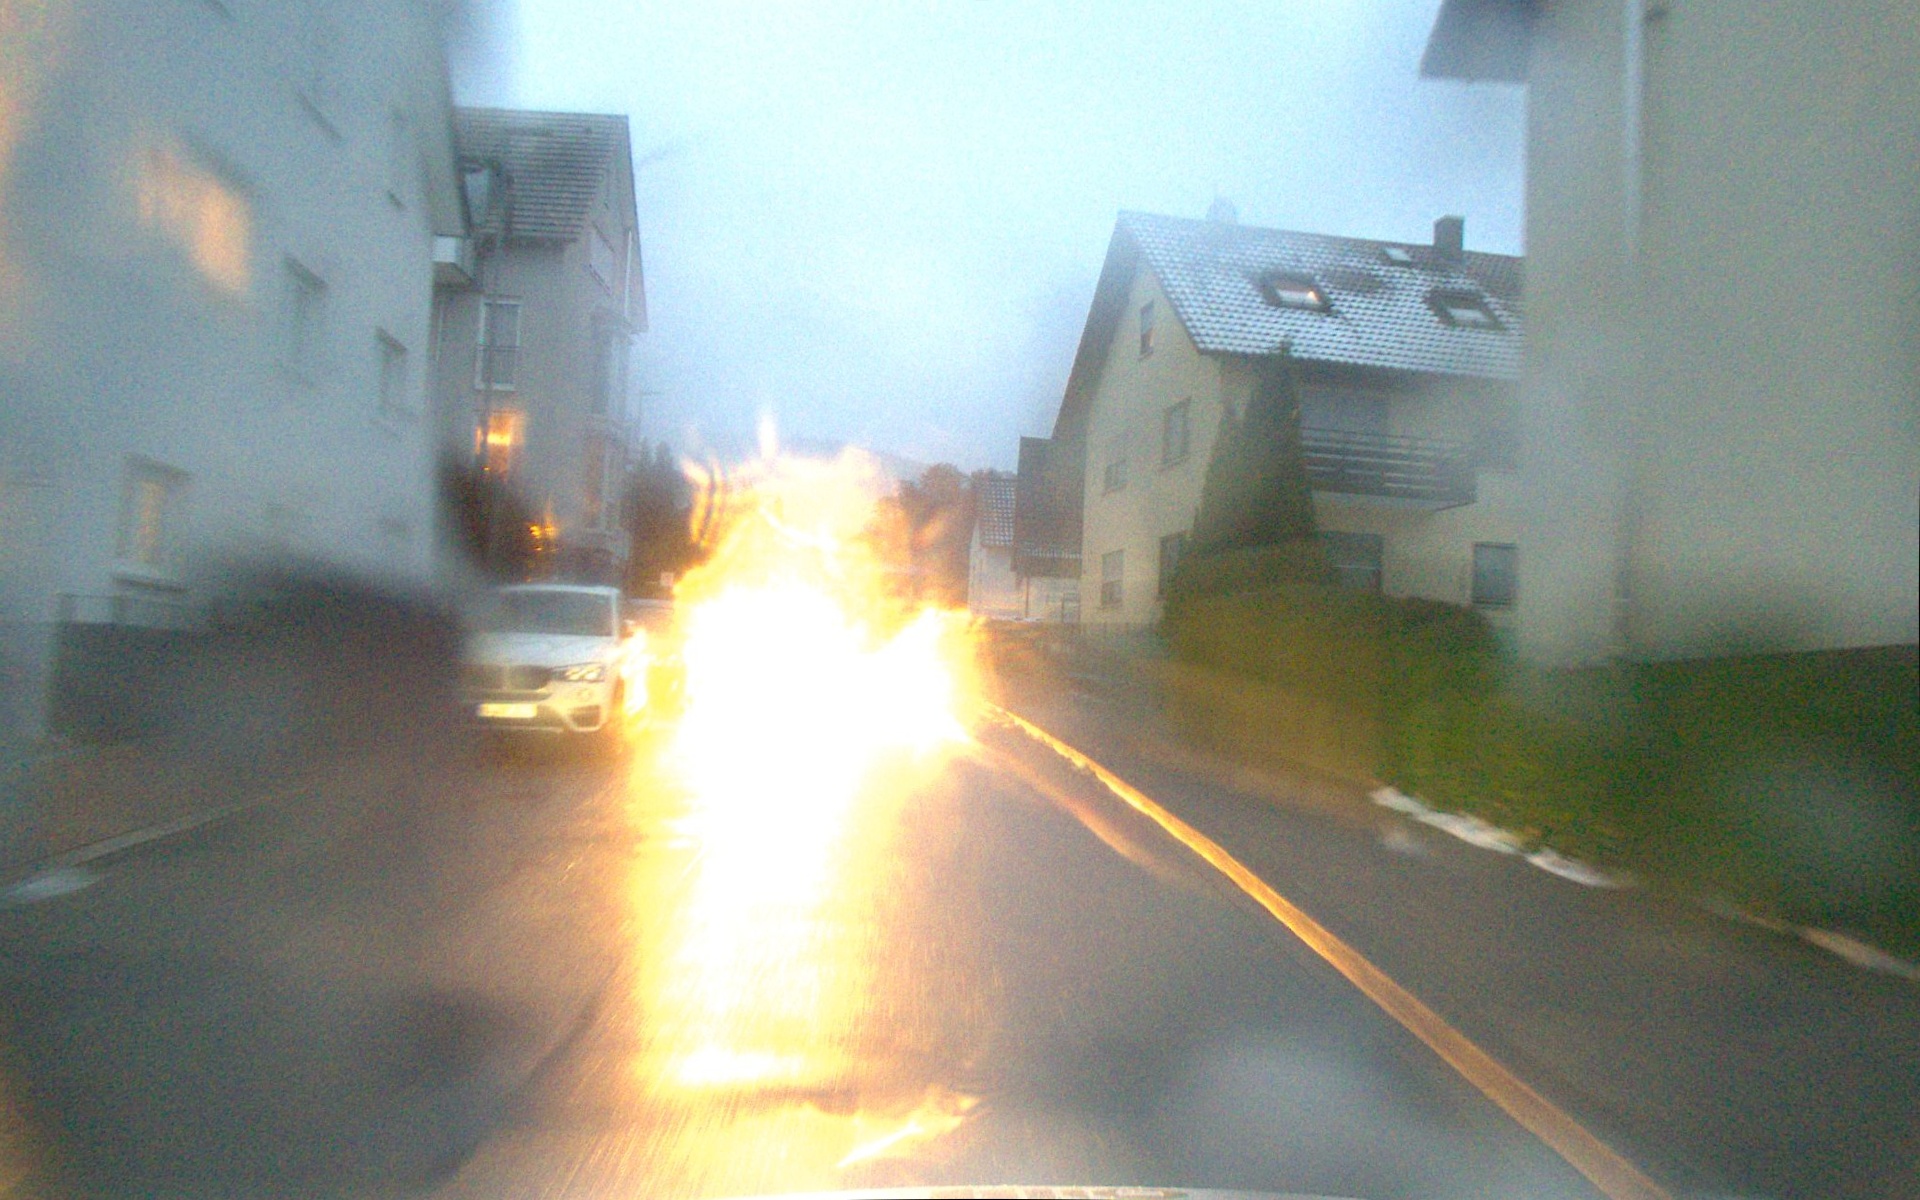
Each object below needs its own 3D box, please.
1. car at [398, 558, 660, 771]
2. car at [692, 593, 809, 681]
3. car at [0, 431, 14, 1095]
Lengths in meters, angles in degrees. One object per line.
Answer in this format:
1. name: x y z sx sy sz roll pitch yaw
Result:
1. car: -4.100 0.571 16.383 1.955 1.832 3.994 1 0 -7
2. car: -4.315 0.799 34.664 1.953 1.679 3.999 2 -2 -1
3. car: -3.531 0.444 2.473 1.789 1.867 4.343 1 0 -2
